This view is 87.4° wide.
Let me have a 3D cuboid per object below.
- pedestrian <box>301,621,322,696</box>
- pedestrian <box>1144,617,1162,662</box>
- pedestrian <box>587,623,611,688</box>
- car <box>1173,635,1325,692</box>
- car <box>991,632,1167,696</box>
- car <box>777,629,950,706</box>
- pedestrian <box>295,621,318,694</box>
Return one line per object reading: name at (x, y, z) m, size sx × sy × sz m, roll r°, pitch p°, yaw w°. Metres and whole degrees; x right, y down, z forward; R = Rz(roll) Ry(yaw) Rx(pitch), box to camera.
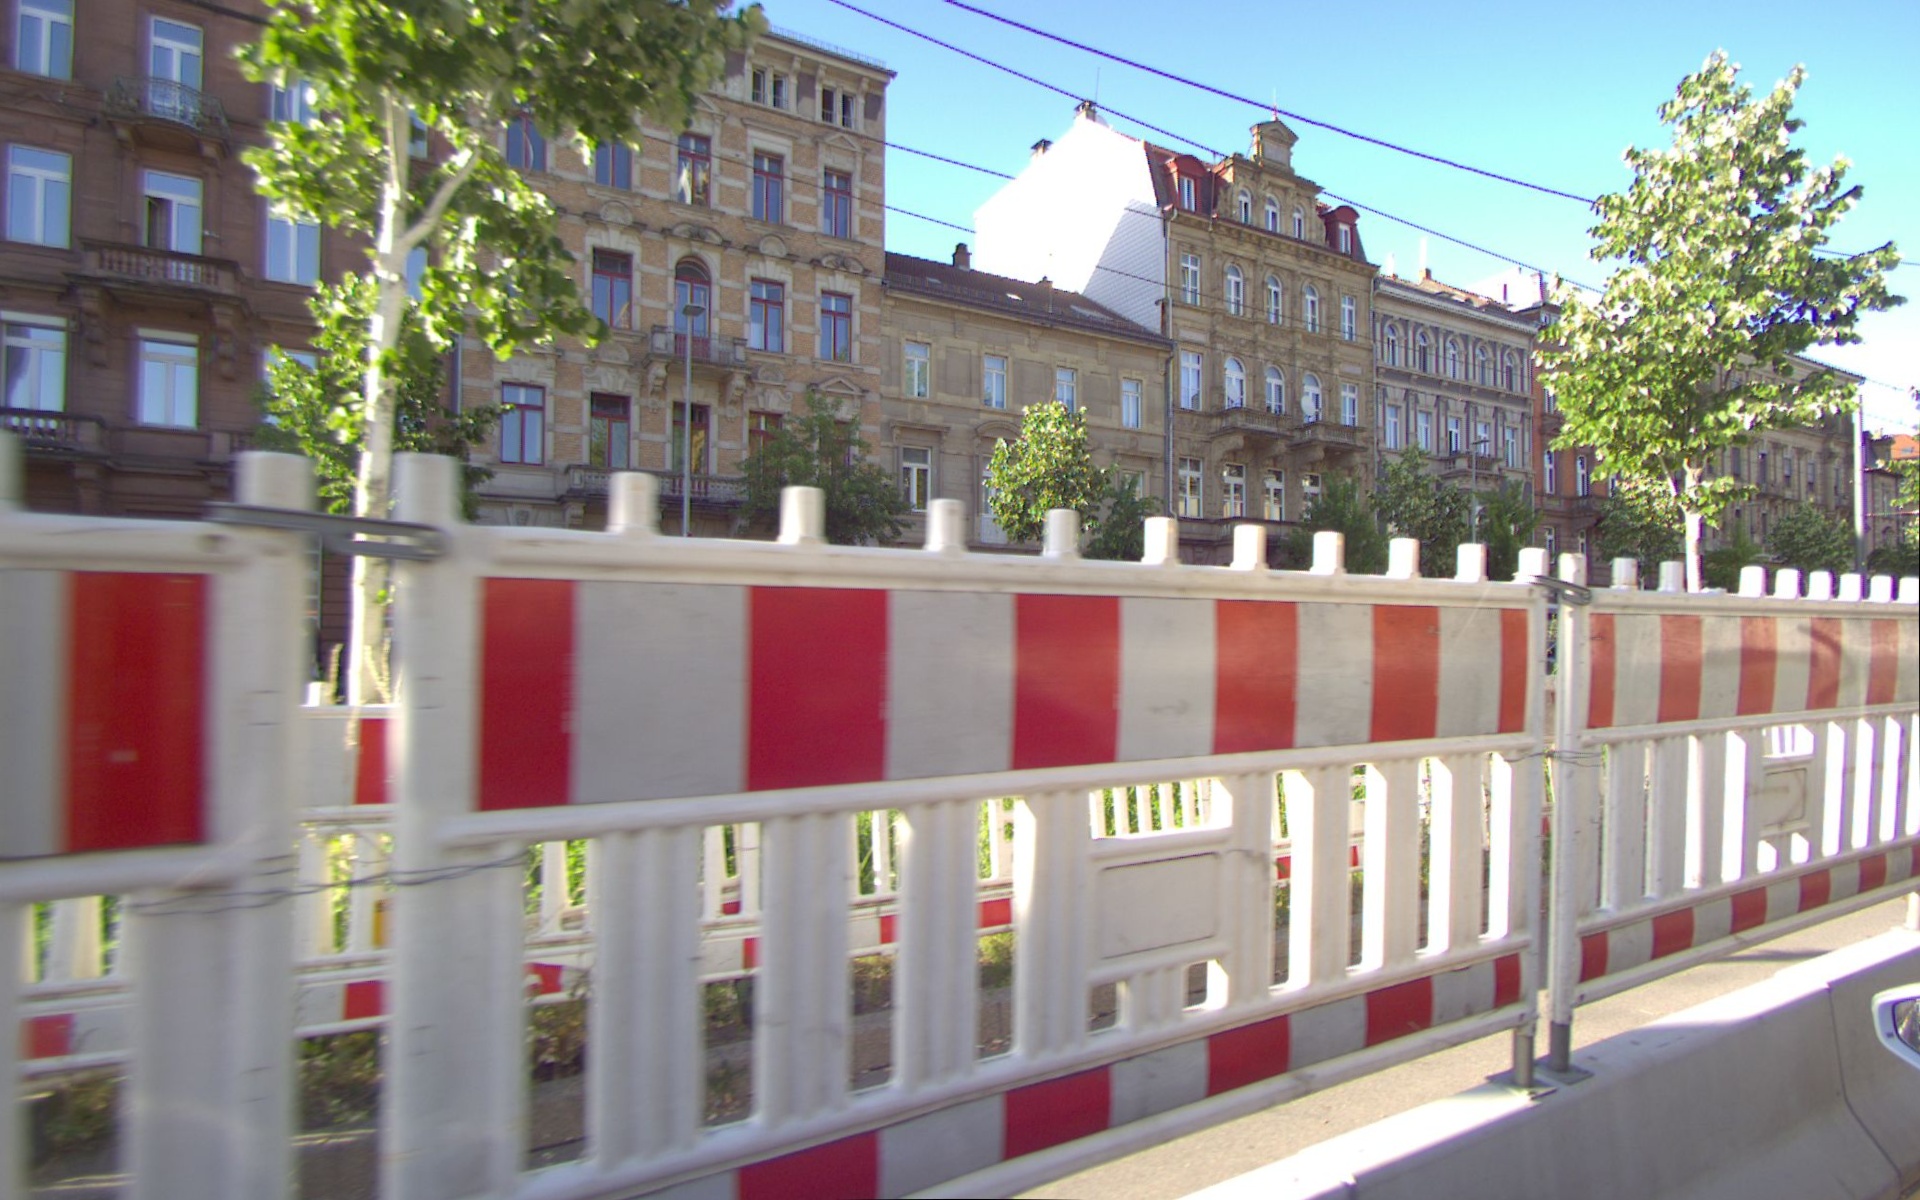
pedestrian at (-14.201, 1.276, 21.993) m, size 0.335 × 1.606 × 0.426 m, roll 1°, pitch 0°, yaw -30°
pedestrian at (6.709, 1.372, 34.904) m, size 0.430 × 1.555 × 0.403 m, roll 1°, pitch 0°, yaw -30°
pedestrian at (-9.067, 1.378, 25.237) m, size 0.431 × 1.606 × 0.457 m, roll 1°, pitch 0°, yaw -36°
car at (8.620, 1.822, 29.830) m, size 4.659 × 1.583 × 1.559 m, roll 1°, pitch -2°, yaw -31°
car at (3.206, 1.646, 26.701) m, size 4.659 × 1.583 × 1.559 m, roll 1°, pitch -2°, yaw -30°
car at (-2.255, 1.543, 23.680) m, size 3.764 × 1.697 × 1.559 m, roll 1°, pitch -2°, yaw -30°
pedestrian at (-14.638, 1.271, 22.502) m, size 0.381 × 1.606 × 0.431 m, roll 1°, pitch 0°, yaw -33°
